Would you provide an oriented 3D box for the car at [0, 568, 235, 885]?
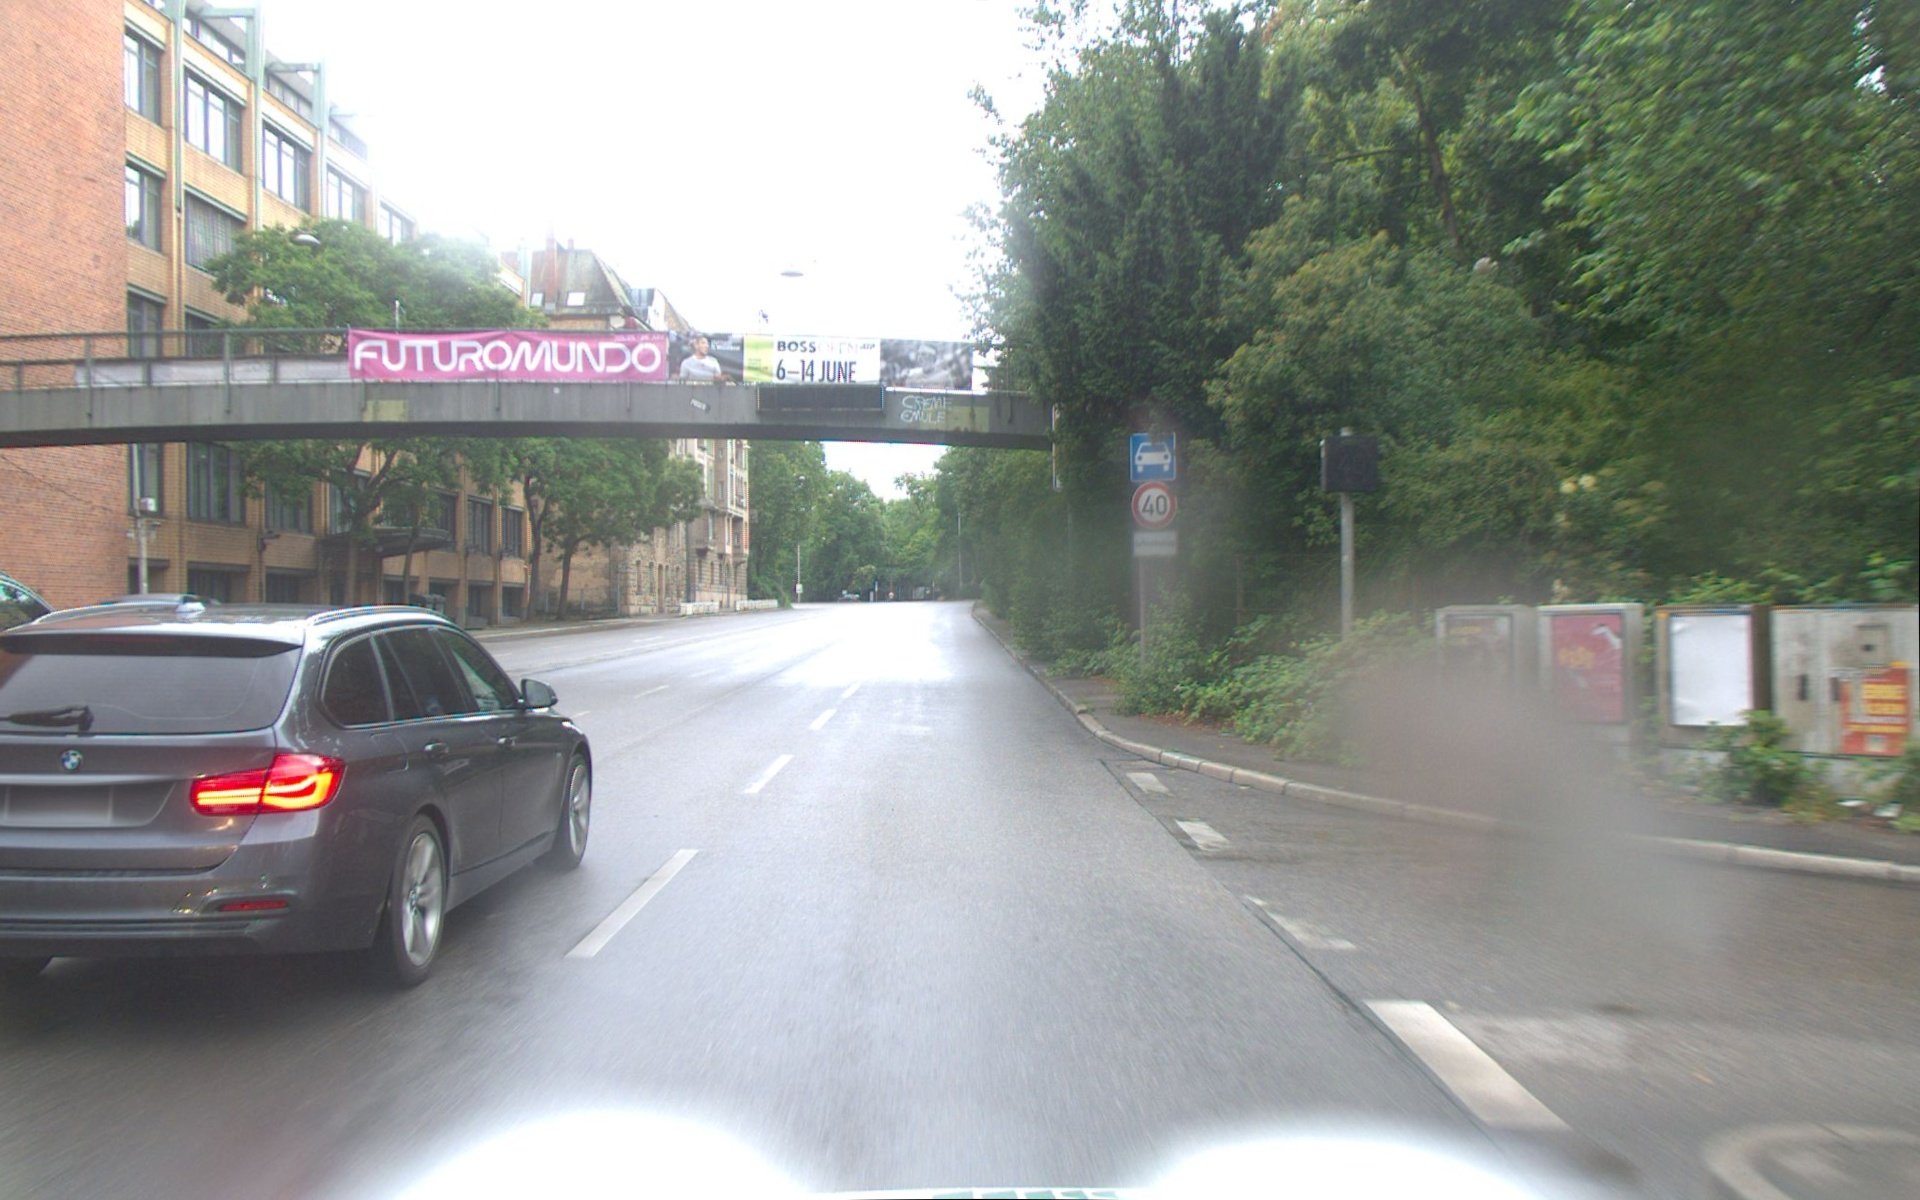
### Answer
[{"bbox_3d":[-5.952,0.640,9.190,1.772,1.685,4.445,2,-1,1],"label":"car"}]

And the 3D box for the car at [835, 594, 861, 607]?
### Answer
[{"bbox_3d":[-15.549,0.081,229.907,3.513,1.574,1.613,2,-1,1],"label":"car"}]

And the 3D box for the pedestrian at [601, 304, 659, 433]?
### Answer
[{"bbox_3d":[-6.590,-4.616,33.090,0.935,2.386,1.005,2,-1,-6],"label":"pedestrian"}]

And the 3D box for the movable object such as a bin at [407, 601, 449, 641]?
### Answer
[{"bbox_3d":[-20.994,0.815,65.267,1.272,1.545,1.214,0,0,0],"label":"movable object such as a bin"}]

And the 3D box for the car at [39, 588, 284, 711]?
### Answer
[{"bbox_3d":[-10.864,0.646,22.787,1.568,1.525,3.711,-1,-1,0],"label":"car"}]

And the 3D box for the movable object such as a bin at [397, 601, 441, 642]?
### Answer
[{"bbox_3d":[-20.866,0.827,63.775,1.256,1.545,1.273,0,0,0],"label":"movable object such as a bin"}]

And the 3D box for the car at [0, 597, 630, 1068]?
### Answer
[{"bbox_3d":[-2.826,0.752,7.467,1.740,1.483,4.477,0,0,0],"label":"car"}]
